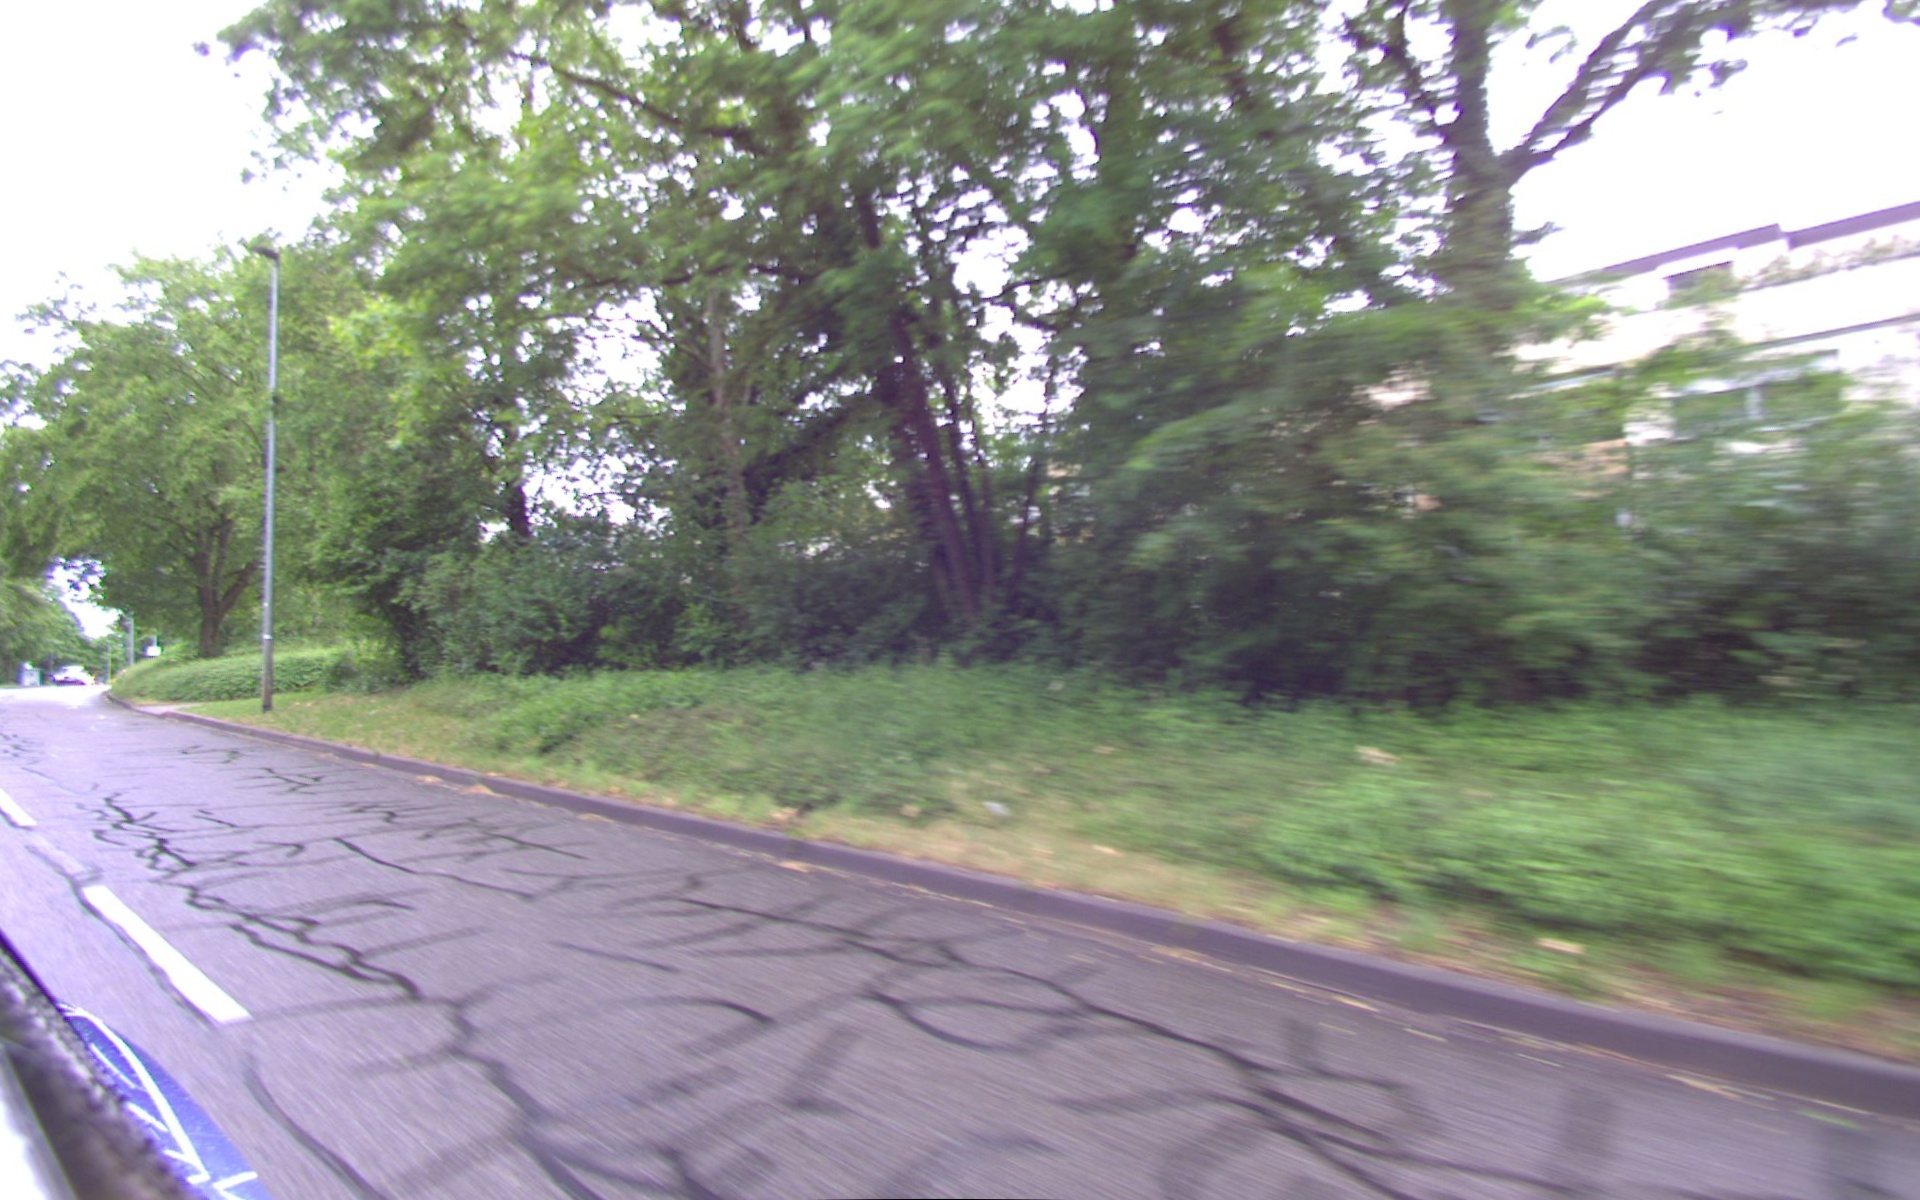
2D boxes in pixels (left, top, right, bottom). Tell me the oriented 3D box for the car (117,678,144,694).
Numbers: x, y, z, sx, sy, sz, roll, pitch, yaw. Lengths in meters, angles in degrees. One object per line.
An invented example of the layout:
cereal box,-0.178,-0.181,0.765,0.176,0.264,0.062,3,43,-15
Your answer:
car,-76.329,7.885,93.106,1.644,1.489,3.740,3,-6,-36
